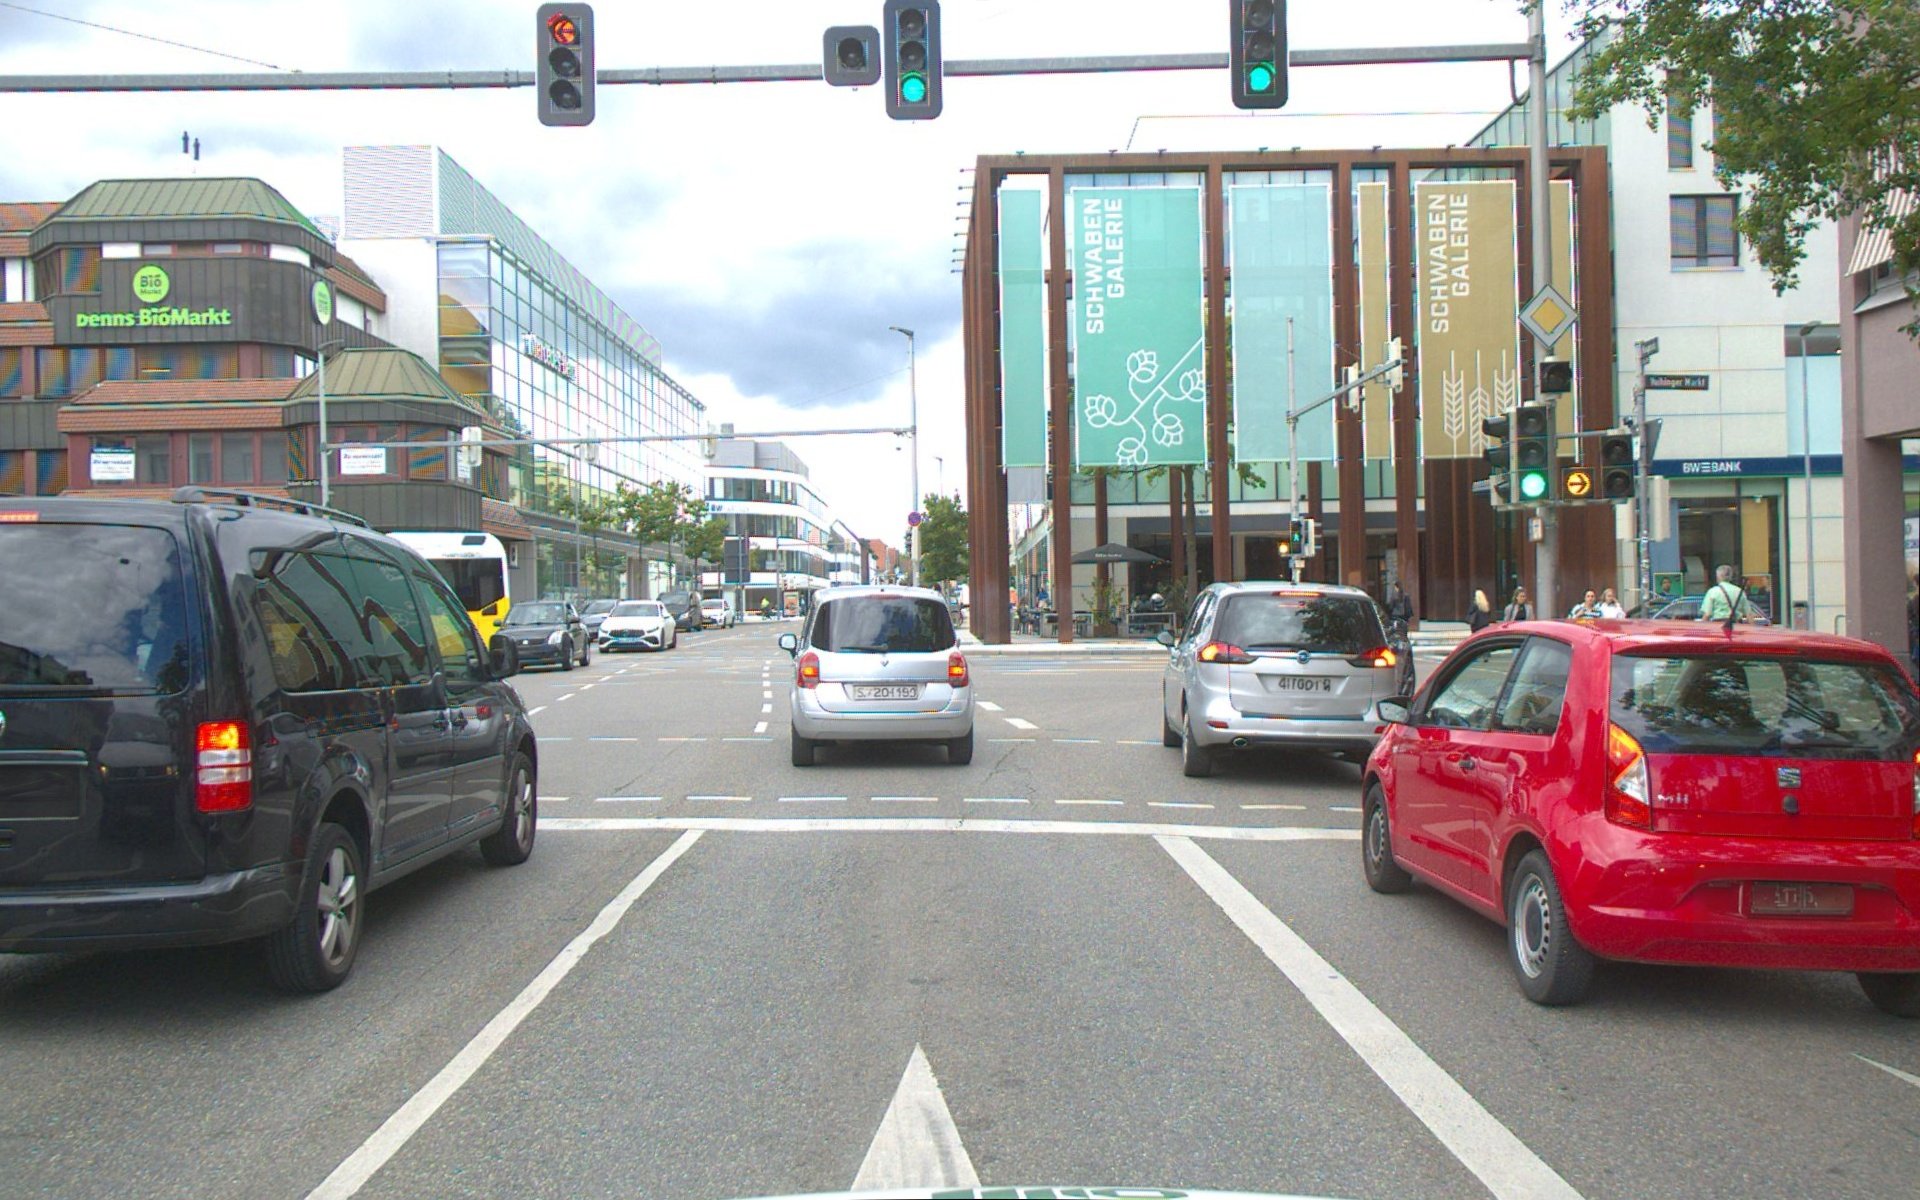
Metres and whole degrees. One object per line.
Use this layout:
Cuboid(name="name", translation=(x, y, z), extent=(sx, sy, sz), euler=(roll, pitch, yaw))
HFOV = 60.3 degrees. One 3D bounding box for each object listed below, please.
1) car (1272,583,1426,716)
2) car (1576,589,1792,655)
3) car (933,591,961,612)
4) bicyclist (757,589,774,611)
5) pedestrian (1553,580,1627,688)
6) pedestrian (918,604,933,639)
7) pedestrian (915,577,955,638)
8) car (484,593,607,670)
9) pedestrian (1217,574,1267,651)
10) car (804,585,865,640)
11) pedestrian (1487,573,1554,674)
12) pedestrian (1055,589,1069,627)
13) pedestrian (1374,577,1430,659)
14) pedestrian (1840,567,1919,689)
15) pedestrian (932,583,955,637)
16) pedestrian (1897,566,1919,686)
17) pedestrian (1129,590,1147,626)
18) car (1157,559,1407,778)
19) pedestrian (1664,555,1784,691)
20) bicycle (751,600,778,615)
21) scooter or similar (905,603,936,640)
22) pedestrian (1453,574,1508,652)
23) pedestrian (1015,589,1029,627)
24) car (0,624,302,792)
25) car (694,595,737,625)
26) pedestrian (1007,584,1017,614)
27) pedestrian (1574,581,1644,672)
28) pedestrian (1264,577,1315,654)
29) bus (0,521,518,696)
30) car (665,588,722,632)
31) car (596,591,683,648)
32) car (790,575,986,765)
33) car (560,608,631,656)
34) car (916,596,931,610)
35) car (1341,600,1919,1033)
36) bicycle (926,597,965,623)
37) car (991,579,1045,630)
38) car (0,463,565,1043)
Cuboid(name="car", translation=(5.542, 0.596, 23.136), extent=(1.812, 1.637, 4.864), euler=(1, 1, 16))
Cuboid(name="car", translation=(16.216, 0.476, 37.160), extent=(4.090, 1.428, 1.799), euler=(0, 0, -4))
Cuboid(name="car", translation=(-0.850, 0.064, 111.982), extent=(1.839, 1.358, 4.000), euler=(1, 0, 0))
Cuboid(name="bicyclist", translation=(-14.875, 0.017, 126.285), extent=(0.995, 1.689, 0.924), euler=(1, 0, -28))
Cuboid(name="pedestrian", translation=(9.921, 0.516, 26.070), extent=(0.726, 1.654, 0.953), euler=(-1, 0, -4))
Cuboid(name="pedestrian", translation=(-0.936, 0.574, 44.775), extent=(0.354, 0.940, 0.454), euler=(-1, 0, 1))
Cuboid(name="pedestrian", translation=(-0.694, 0.191, 46.031), extent=(0.854, 1.675, 0.678), euler=(0, 0, 34))
Cuboid(name="car", translation=(-8.892, 0.637, 35.764), extent=(1.708, 1.484, 3.817), euler=(-2, 1, -1))
Cuboid(name="pedestrian", translation=(6.374, 0.270, 37.465), extent=(0.861, 1.711, 1.119), euler=(-1, 0, -4))
Cuboid(name="car", translation=(-3.828, 0.361, 50.874), extent=(1.636, 1.581, 3.641), euler=(1, 0, -1))
Cuboid(name="pedestrian", translation=(9.494, 0.386, 28.031), extent=(0.726, 1.654, 0.953), euler=(-1, 0, -4))
Cuboid(name="pedestrian", translation=(3.340, 0.268, 54.223), extent=(0.438, 1.241, 0.607), euler=(-1, 0, 3))
Cuboid(name="pedestrian", translation=(9.892, 0.400, 37.056), extent=(0.861, 1.798, 1.119), euler=(-1, 0, -4))
Cuboid(name="pedestrian", translation=(12.494, 0.364, 22.187), extent=(0.813, 1.586, 0.968), euler=(-1, 0, -5))
Cuboid(name="pedestrian", translation=(-0.453, 0.260, 44.805), extent=(0.589, 1.445, 0.582), euler=(-1, 0, 1))
Cuboid(name="pedestrian", translation=(13.354, 0.346, 22.284), extent=(0.814, 1.612, 1.057), euler=(-1, 0, -5))
Cuboid(name="pedestrian", translation=(6.307, 0.275, 58.680), extent=(0.505, 1.229, 0.795), euler=(-1, 1, -3))
Cuboid(name="car", translation=(2.849, 0.535, 15.485), extent=(1.703, 1.730, 4.383), euler=(1, 0, 3))
Cuboid(name="pedestrian", translation=(10.052, 0.293, 21.812), extent=(1.034, 1.745, 1.109), euler=(-1, 0, -2))
Cuboid(name="bicycle", translation=(-14.912, 0.573, 126.330), extent=(0.994, 1.036, 3.101), euler=(1, 0, -28))
Cuboid(name="scooter or similar", translation=(-1.091, 0.588, 45.512), extent=(0.621, 0.978, 0.619), euler=(-1, 0, 33))
Cuboid(name="pedestrian", translation=(12.191, 0.293, 38.777), extent=(0.861, 1.798, 1.119), euler=(-1, 0, -4))
Cuboid(name="pedestrian", translation=(2.041, 0.250, 54.276), extent=(0.438, 1.241, 0.607), euler=(-1, 0, 2))
Cuboid(name="car", translation=(-8.930, 1.087, 18.178), extent=(1.831, 1.512, 3.999), euler=(-1, 1, -1))
Cuboid(name="car", translation=(-12.754, 0.502, 86.552), extent=(1.626, 1.491, 4.000), euler=(-2, 0, 0))
Cuboid(name="pedestrian", translation=(2.701, -0.057, 86.036), extent=(0.418, 1.576, 0.481), euler=(-1, 0, -3))
Cuboid(name="pedestrian", translation=(11.873, 0.468, 30.271), extent=(0.805, 1.623, 1.038), euler=(-1, 0, -4))
Cuboid(name="pedestrian", translation=(7.511, 0.352, 37.762), extent=(0.861, 1.711, 1.119), euler=(-1, 0, -4))
Cuboid(name="bus", translation=(-15.973, -0.028, 38.267), extent=(2.934, 3.385, 12.276), euler=(-3, 1, 32))
Cuboid(name="car", translation=(-12.636, 0.438, 78.723), extent=(1.827, 1.943, 5.114), euler=(-2, 0, 0))
Cuboid(name="car", translation=(-9.175, 0.536, 47.700), extent=(1.709, 1.484, 4.234), euler=(-2, 1, -1))
Cuboid(name="car", translation=(-0.633, 0.583, 15.858), extent=(1.636, 1.581, 3.641), euler=(1, 0, -1))
Cuboid(name="car", translation=(-13.341, 1.138, 60.797), extent=(1.723, 1.543, 4.385), euler=(-2, 1, -2))
Cuboid(name="car", translation=(-4.155, 0.350, 190.117), extent=(1.626, 1.491, 4.000), euler=(-2, 0, 0))
Cuboid(name="car", translation=(2.994, 0.763, 7.608), extent=(1.593, 1.473, 3.641), euler=(1, 0, -1))
Cuboid(name="bicycle", translation=(-0.601, 0.398, 67.701), extent=(1.528, 1.010, 0.752), euler=(-1, 0, 2))
Cuboid(name="car", translation=(2.019, 0.138, 58.765), extent=(1.704, 1.730, 4.380), euler=(1, 0, -1))
Cuboid(name="car", translation=(-3.167, 0.471, 7.585), extent=(1.673, 1.852, 4.570), euler=(1, 0, -1))
